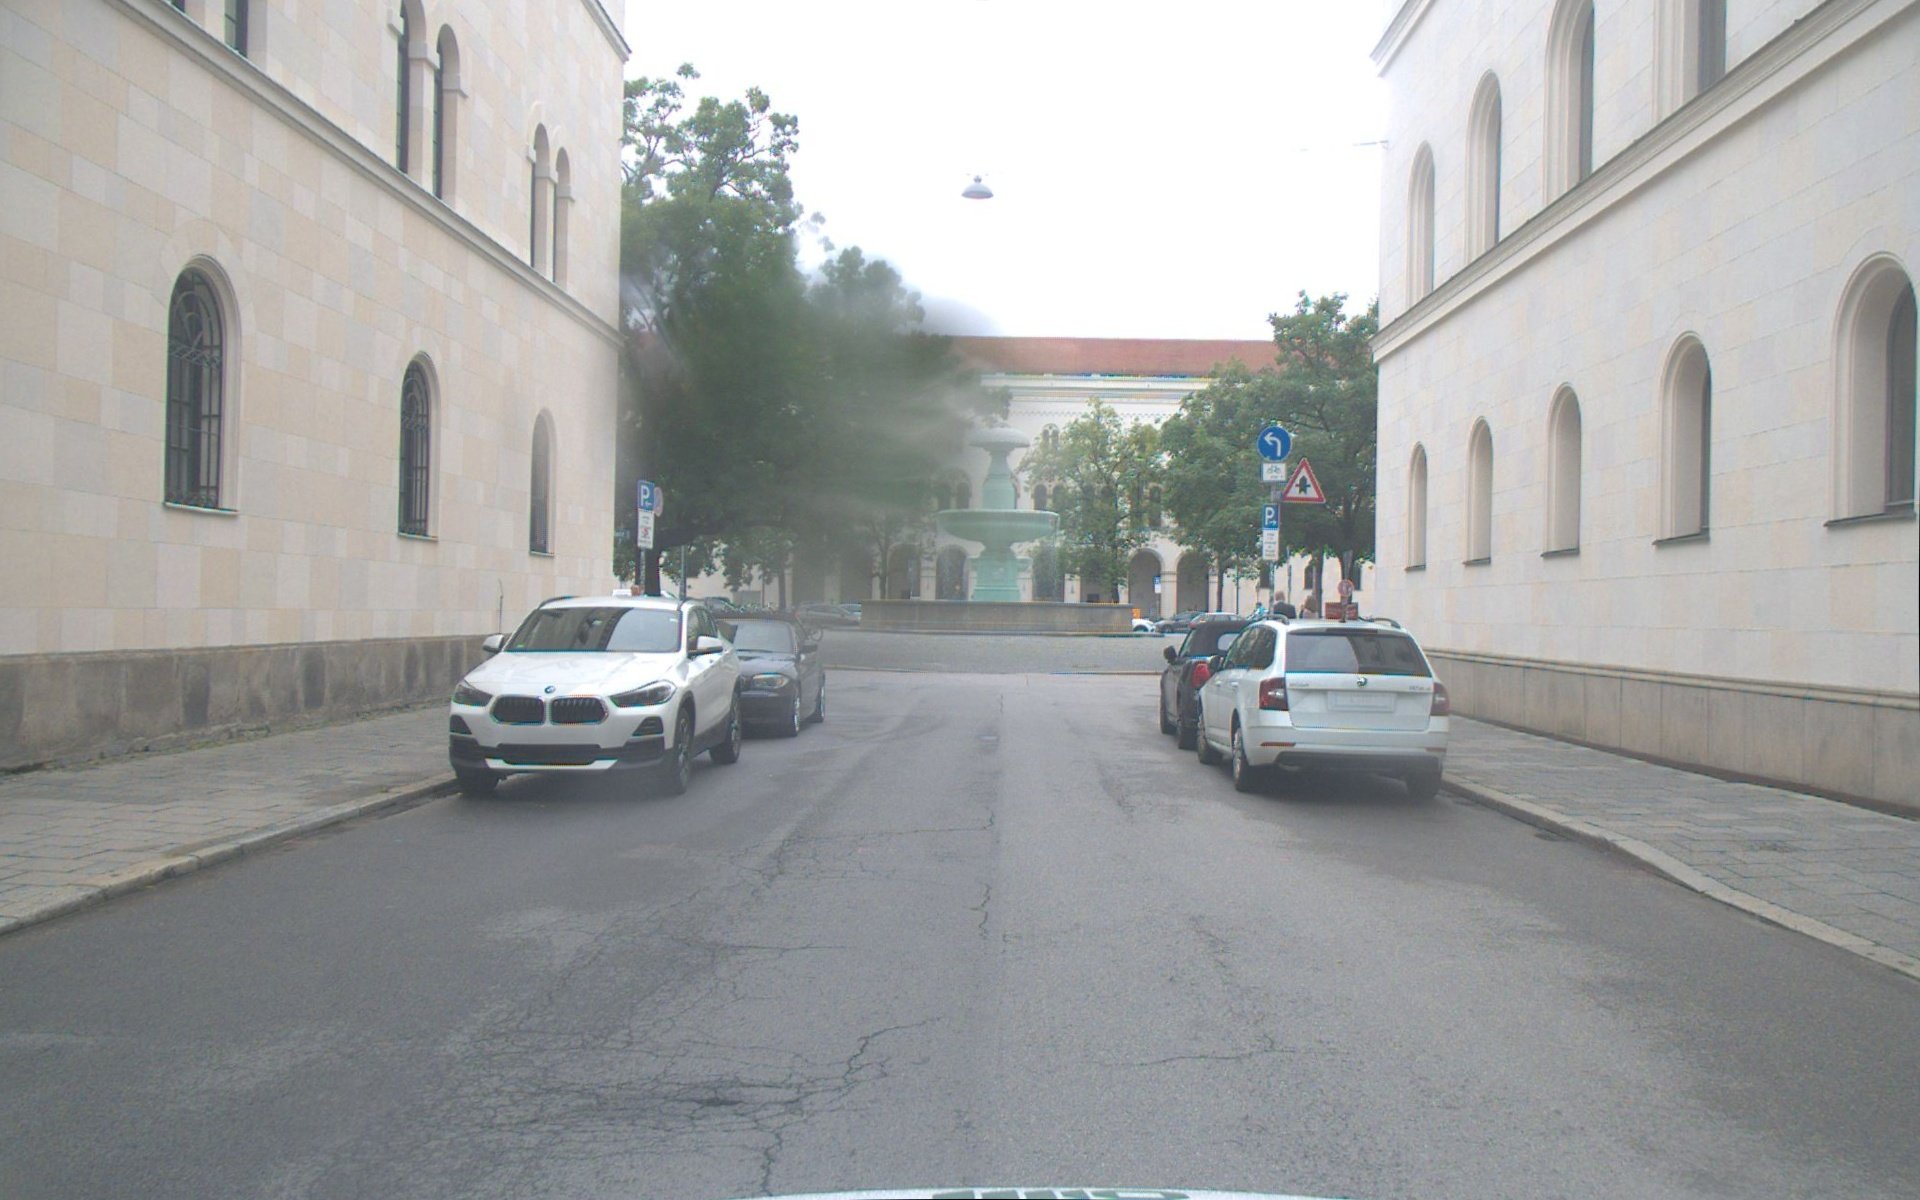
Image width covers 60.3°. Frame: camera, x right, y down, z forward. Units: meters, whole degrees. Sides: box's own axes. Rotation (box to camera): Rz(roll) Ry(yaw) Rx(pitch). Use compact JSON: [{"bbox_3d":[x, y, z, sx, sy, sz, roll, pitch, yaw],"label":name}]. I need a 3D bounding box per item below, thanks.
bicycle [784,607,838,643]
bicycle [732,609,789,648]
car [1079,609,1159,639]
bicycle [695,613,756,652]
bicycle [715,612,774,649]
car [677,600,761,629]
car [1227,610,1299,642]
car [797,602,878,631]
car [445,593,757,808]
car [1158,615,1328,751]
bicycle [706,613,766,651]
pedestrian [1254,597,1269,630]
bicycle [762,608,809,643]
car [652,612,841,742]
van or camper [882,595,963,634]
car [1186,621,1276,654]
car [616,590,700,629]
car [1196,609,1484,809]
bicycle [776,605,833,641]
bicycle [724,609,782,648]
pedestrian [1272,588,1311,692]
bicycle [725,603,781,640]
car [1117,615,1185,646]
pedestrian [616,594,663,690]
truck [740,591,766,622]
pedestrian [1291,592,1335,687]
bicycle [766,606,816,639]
[{"bbox_3d":[-4.798,0.798,53.352,1.584,1.118,0.617,1,0,12],"label":"bicycle"},{"bbox_3d":[-6.150,0.873,50.941,1.584,1.118,0.699,1,0,12],"label":"bicycle"},{"bbox_3d":[7.919,1.194,82.691,3.903,1.427,1.825,0,0,4],"label":"car"},{"bbox_3d":[-6.797,0.933,47.874,1.584,1.054,0.699,1,0,12],"label":"bicycle"},{"bbox_3d":[-6.444,0.906,49.438,1.584,1.054,0.699,1,0,12],"label":"bicycle"},{"bbox_3d":[-12.074,0.701,82.926,3.905,1.400,2.000,1,0,0],"label":"car"},{"bbox_3d":[18.377,1.569,100.388,4.015,1.772,1.746,1,0,-2],"label":"car"},{"bbox_3d":[-6.116,0.818,82.993,3.905,1.400,2.000,1,0,0],"label":"car"},{"bbox_3d":[-2.914,0.771,14.330,1.741,1.562,4.211,-1,-1,0],"label":"car"},{"bbox_3d":[3.302,0.920,19.870,1.508,1.451,3.773,1,-1,2],"label":"car"},{"bbox_3d":[-6.587,0.927,48.691,1.584,1.054,0.699,1,0,12],"label":"bicycle"},{"bbox_3d":[13.802,0.630,75.766,0.570,1.491,0.548,0,0,25],"label":"pedestrian"},{"bbox_3d":[-5.745,0.828,54.540,1.371,1.118,0.657,1,0,12],"label":"bicycle"},{"bbox_3d":[-2.529,0.886,20.480,1.663,1.417,4.212,-1,-1,2],"label":"car"},{"bbox_3d":[-2.105,0.855,93.983,4.487,2.049,1.999,-2,-1,-1],"label":"van or camper"},{"bbox_3d":[13.468,1.844,82.385,4.266,1.551,1.804,1,0,3],"label":"car"},{"bbox_3d":[-16.553,0.511,90.786,4.237,2.049,1.824,1,0,1],"label":"car"},{"bbox_3d":[3.269,0.860,15.053,1.752,1.502,4.314,1,0,2],"label":"car"},{"bbox_3d":[-4.948,0.728,52.650,1.673,1.118,0.699,1,0,12],"label":"bicycle"},{"bbox_3d":[-6.283,0.858,50.191,1.584,1.118,0.699,1,0,12],"label":"bicycle"},{"bbox_3d":[5.958,0.705,29.712,0.628,1.840,0.489,1,0,7],"label":"pedestrian"},{"bbox_3d":[-6.522,0.683,52.084,1.584,1.118,0.699,1,0,12],"label":"bicycle"},{"bbox_3d":[11.626,1.838,100.831,3.905,1.780,1.808,1,0,0],"label":"car"},{"bbox_3d":[-5.999,0.772,30.958,0.739,1.780,0.689,0,0,-1],"label":"pedestrian"},{"bbox_3d":[-17.265,0.515,137.916,1.957,2.532,3.991,1,0,-9],"label":"truck"},{"bbox_3d":[6.446,0.716,30.235,0.608,1.711,0.545,2,0,-5],"label":"pedestrian"},{"bbox_3d":[-5.635,0.739,55.250,1.503,1.037,0.699,1,0,12],"label":"bicycle"}]
